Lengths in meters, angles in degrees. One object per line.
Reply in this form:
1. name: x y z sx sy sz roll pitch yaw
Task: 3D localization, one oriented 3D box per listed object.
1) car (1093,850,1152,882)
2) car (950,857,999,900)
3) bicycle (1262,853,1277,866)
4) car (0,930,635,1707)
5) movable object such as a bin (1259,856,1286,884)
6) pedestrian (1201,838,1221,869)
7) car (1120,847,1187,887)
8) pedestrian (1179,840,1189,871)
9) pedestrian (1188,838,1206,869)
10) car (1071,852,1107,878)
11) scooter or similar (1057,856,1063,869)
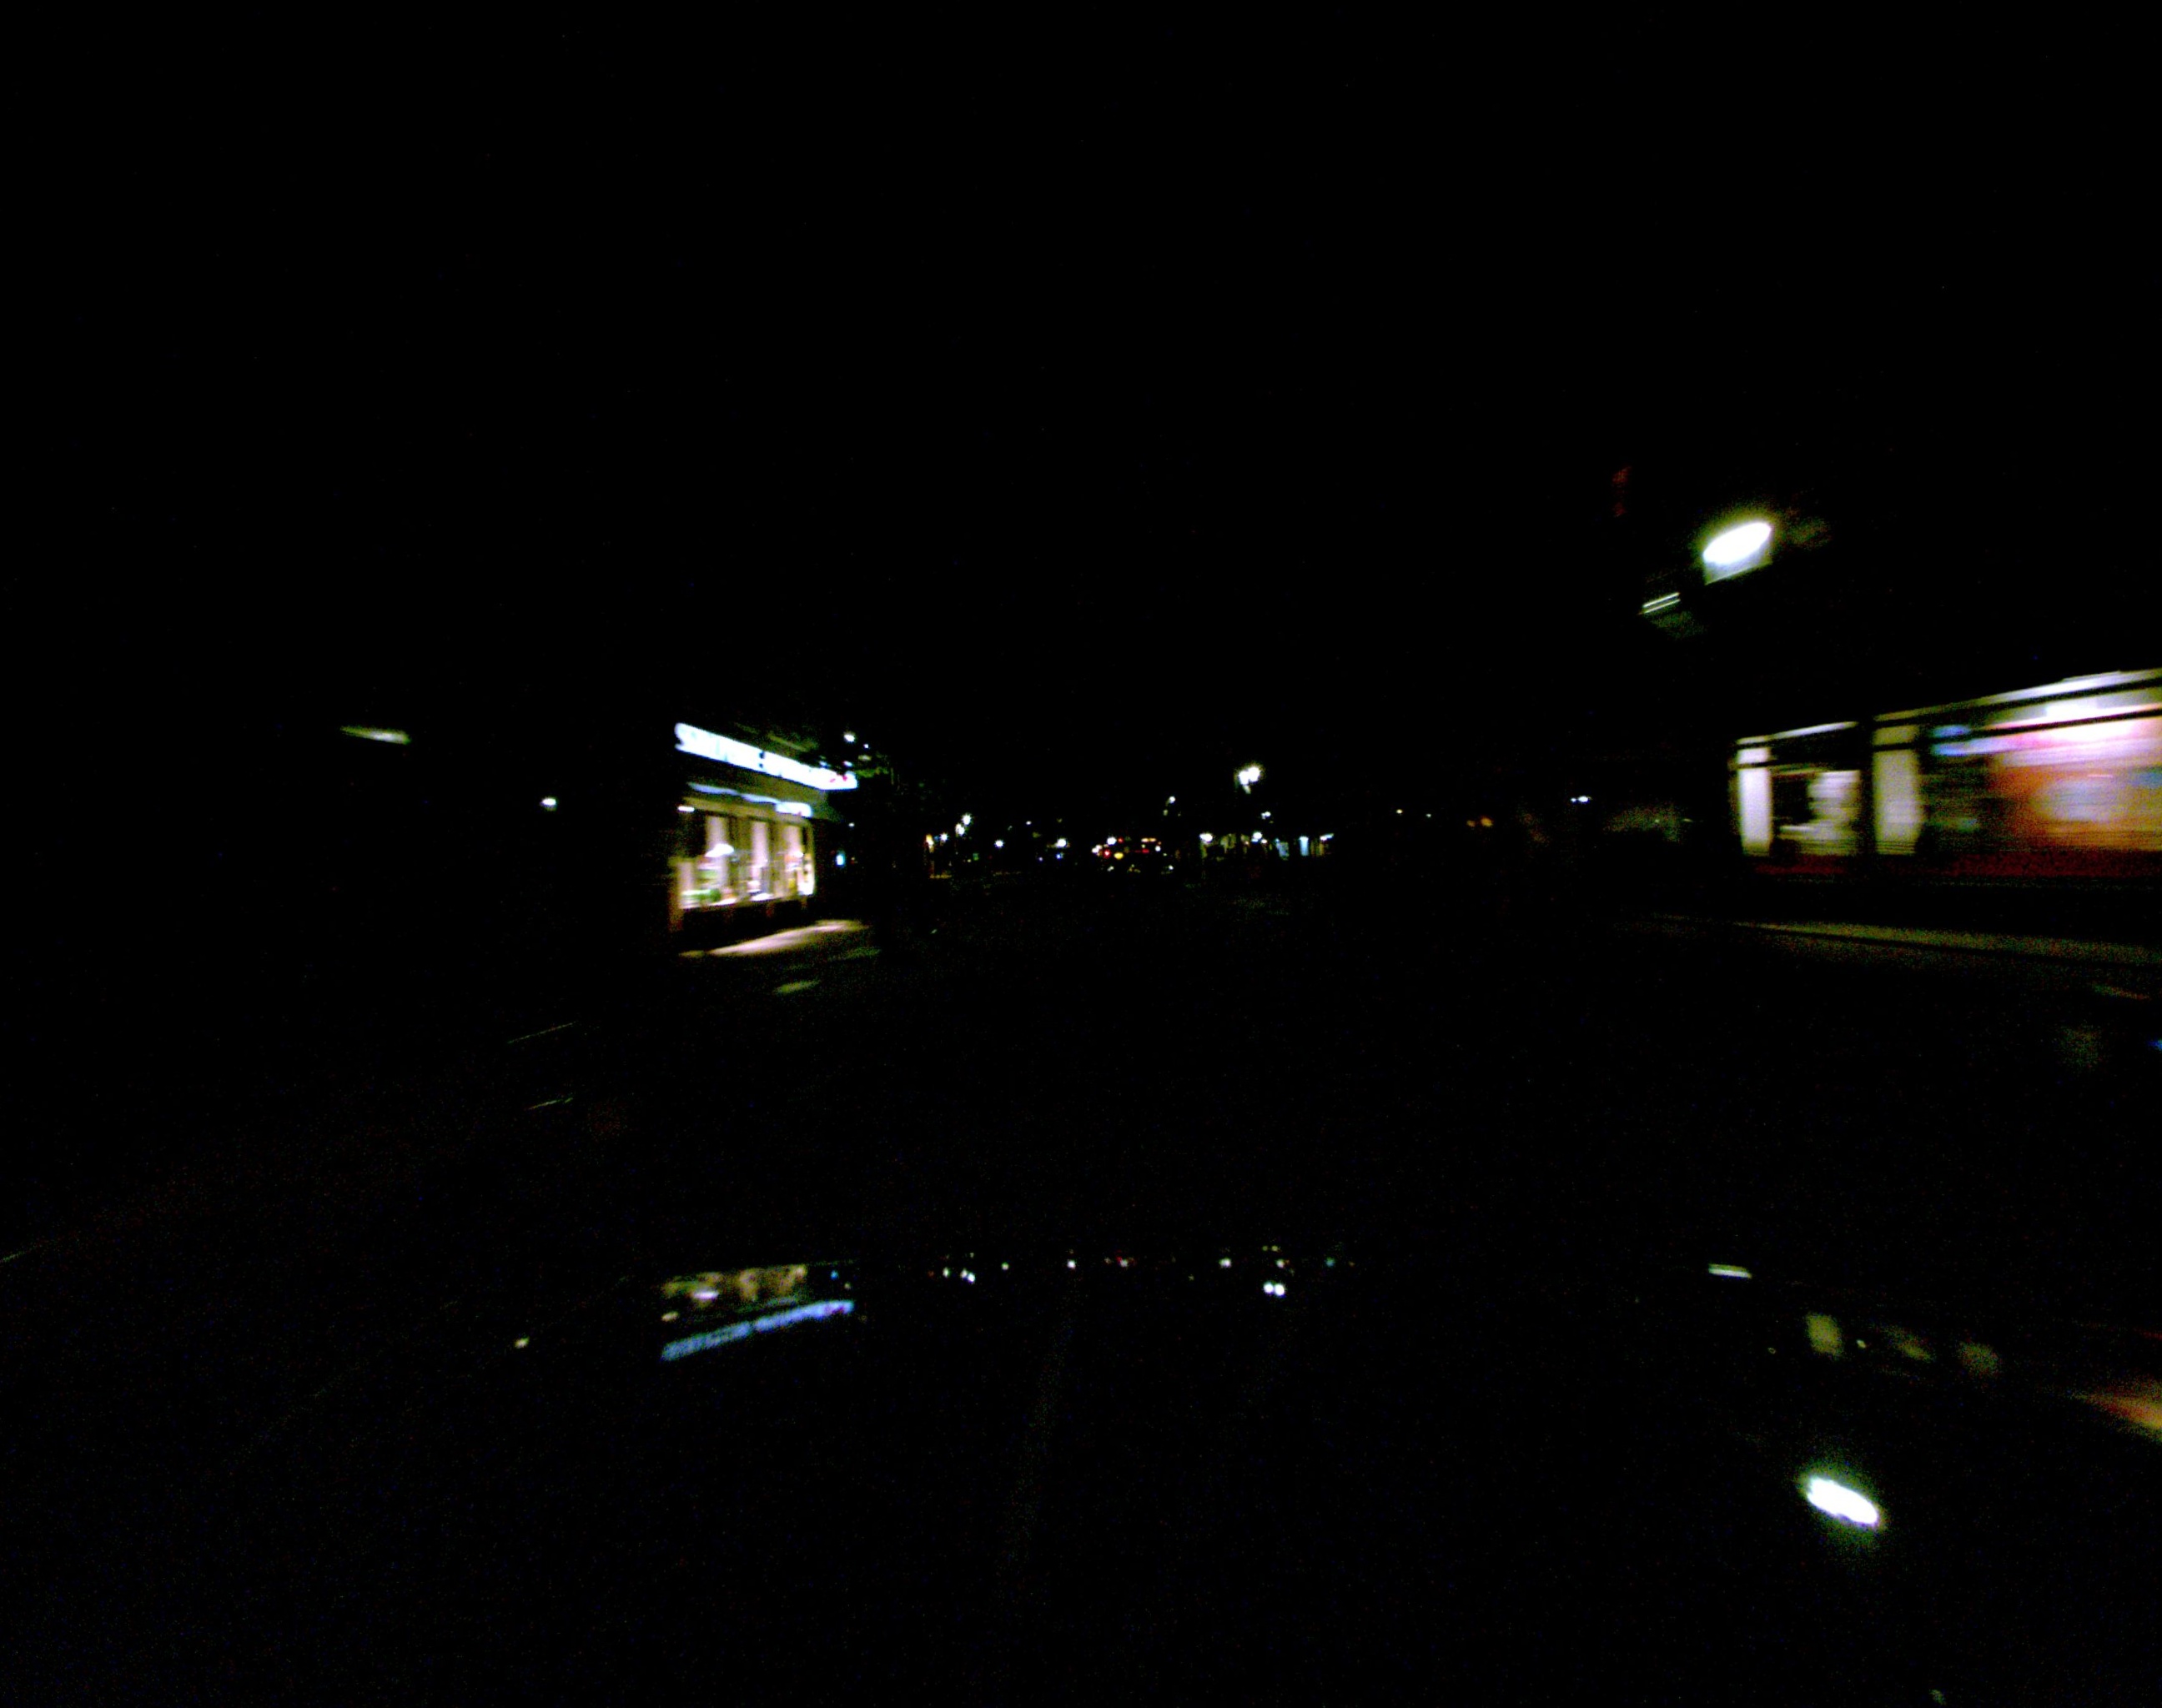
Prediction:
1. car: 2.104 0.602 40.279 1.911 1.533 4.777 -3 0 -11
2. car: -4.210 0.919 30.557 1.747 1.479 4.632 -1 1 -6
3. bicycle: 21.372 0.629 86.208 0.775 1.356 2.508 -2 1 -10
4. car: -2.692 1.059 1.009 1.739 1.432 4.495 -1 0 -4
5. movable object such as a bin: 7.408 0.613 29.416 0.749 1.059 0.791 -2 2 -9
6. pedestrian: 7.664 -0.029 44.930 0.792 1.807 1.025 -3 1 28
7. car: 3.196 0.560 34.581 1.764 1.628 4.811 -2 0 -10
8. pedestrian: 6.167 0.070 45.410 0.502 1.811 0.503 -1 2 12
9. pedestrian: 6.923 -0.048 45.455 0.879 1.821 0.791 -3 1 17
10. car: 0.493 0.700 51.190 1.776 1.565 4.479 -3 1 -7
11. scooter or similar: -2.095 0.880 75.940 0.318 1.280 1.448 -3 0 -8
